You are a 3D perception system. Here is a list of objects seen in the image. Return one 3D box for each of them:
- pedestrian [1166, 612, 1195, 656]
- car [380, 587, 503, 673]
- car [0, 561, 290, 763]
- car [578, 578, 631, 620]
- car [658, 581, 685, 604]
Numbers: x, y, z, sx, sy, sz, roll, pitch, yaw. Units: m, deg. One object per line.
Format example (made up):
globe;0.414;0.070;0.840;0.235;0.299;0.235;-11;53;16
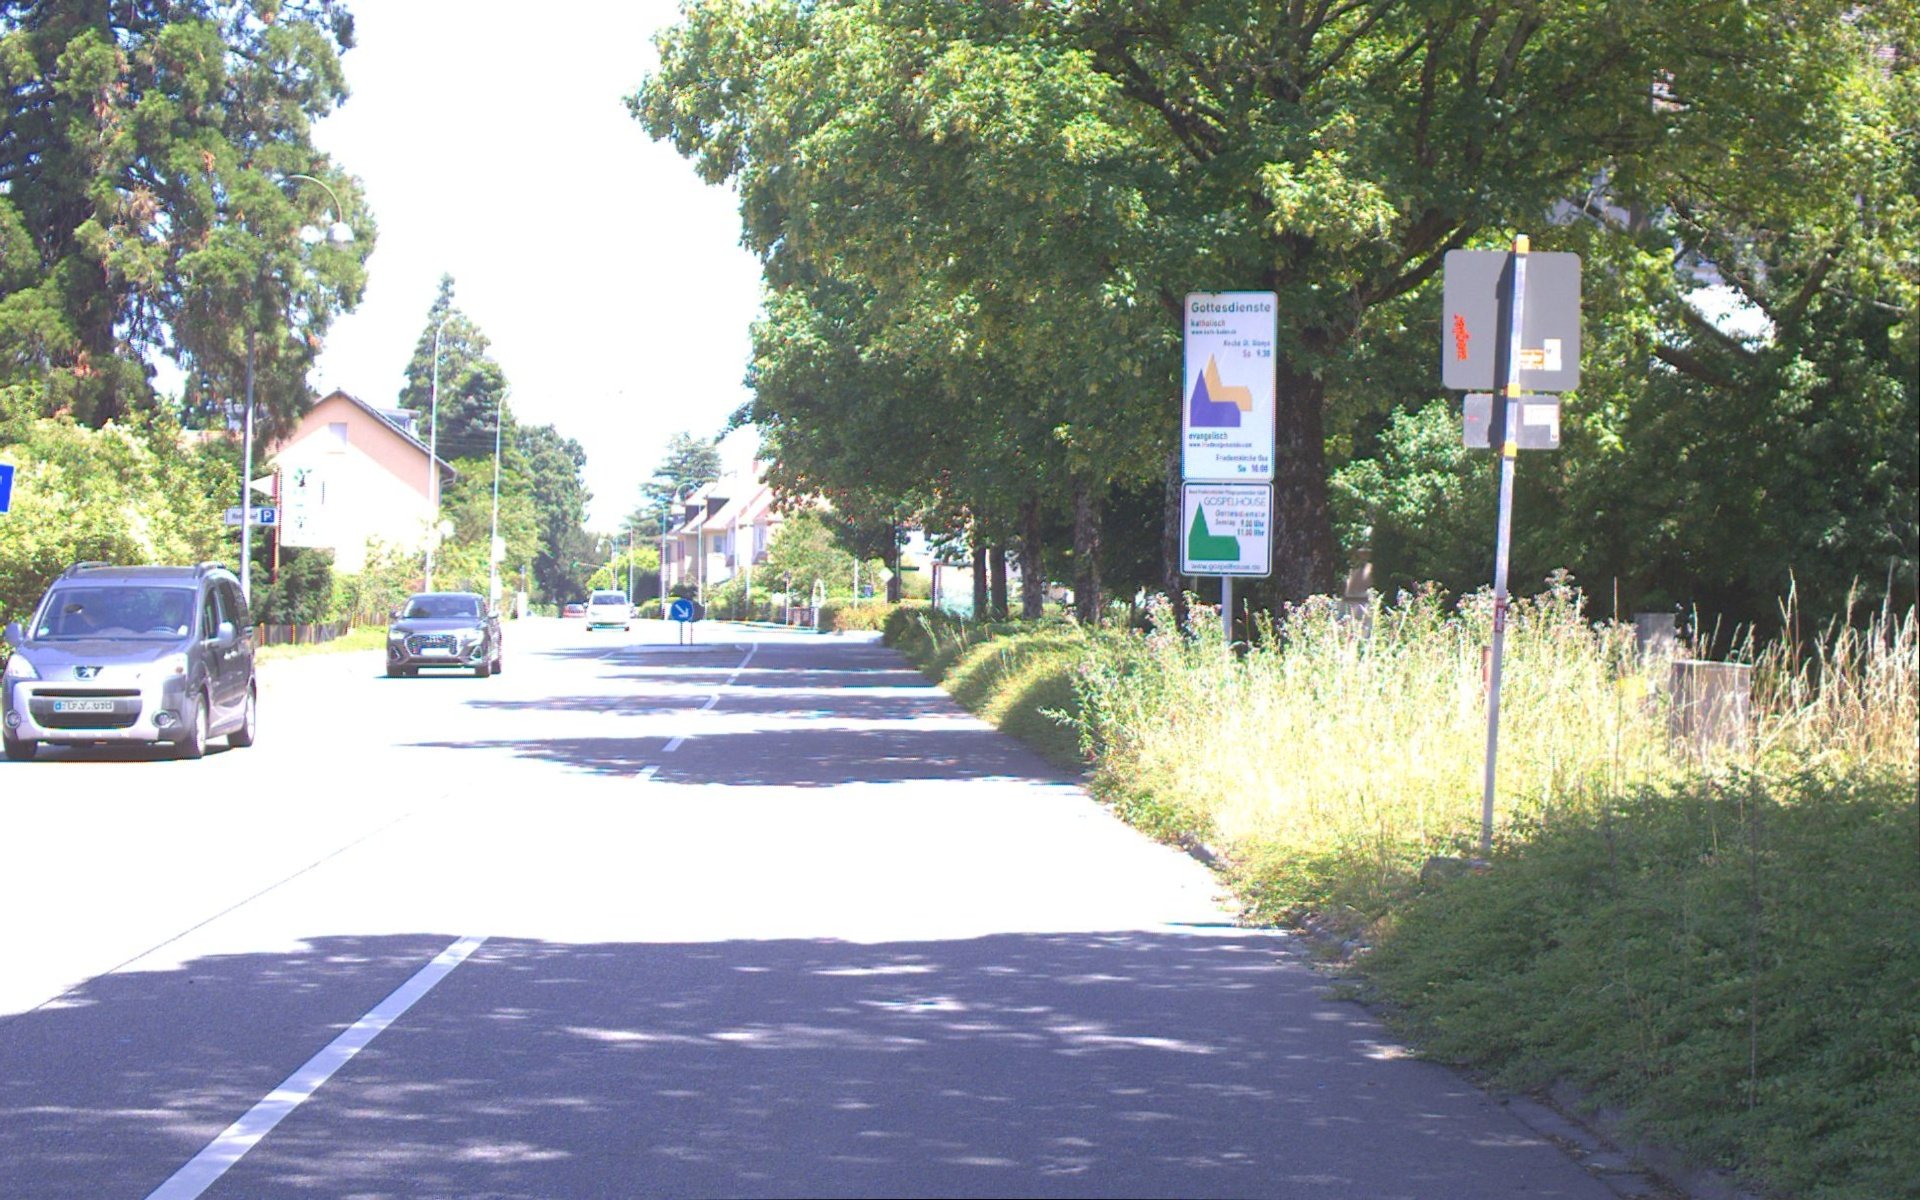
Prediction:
pedestrian;5.831;0.896;90.939;0.704;1.156;0.754;1;0;1
car;-9.594;0.538;63.869;1.793;1.531;4.315;0;0;-2
car;-7.604;0.521;32.152;1.811;1.756;4.570;0;0;0
car;-14.420;-0.052;139.538;1.912;1.683;4.126;0;0;-3
car;-21.777;-0.587;259.604;1.815;1.712;4.000;1;0;-2
